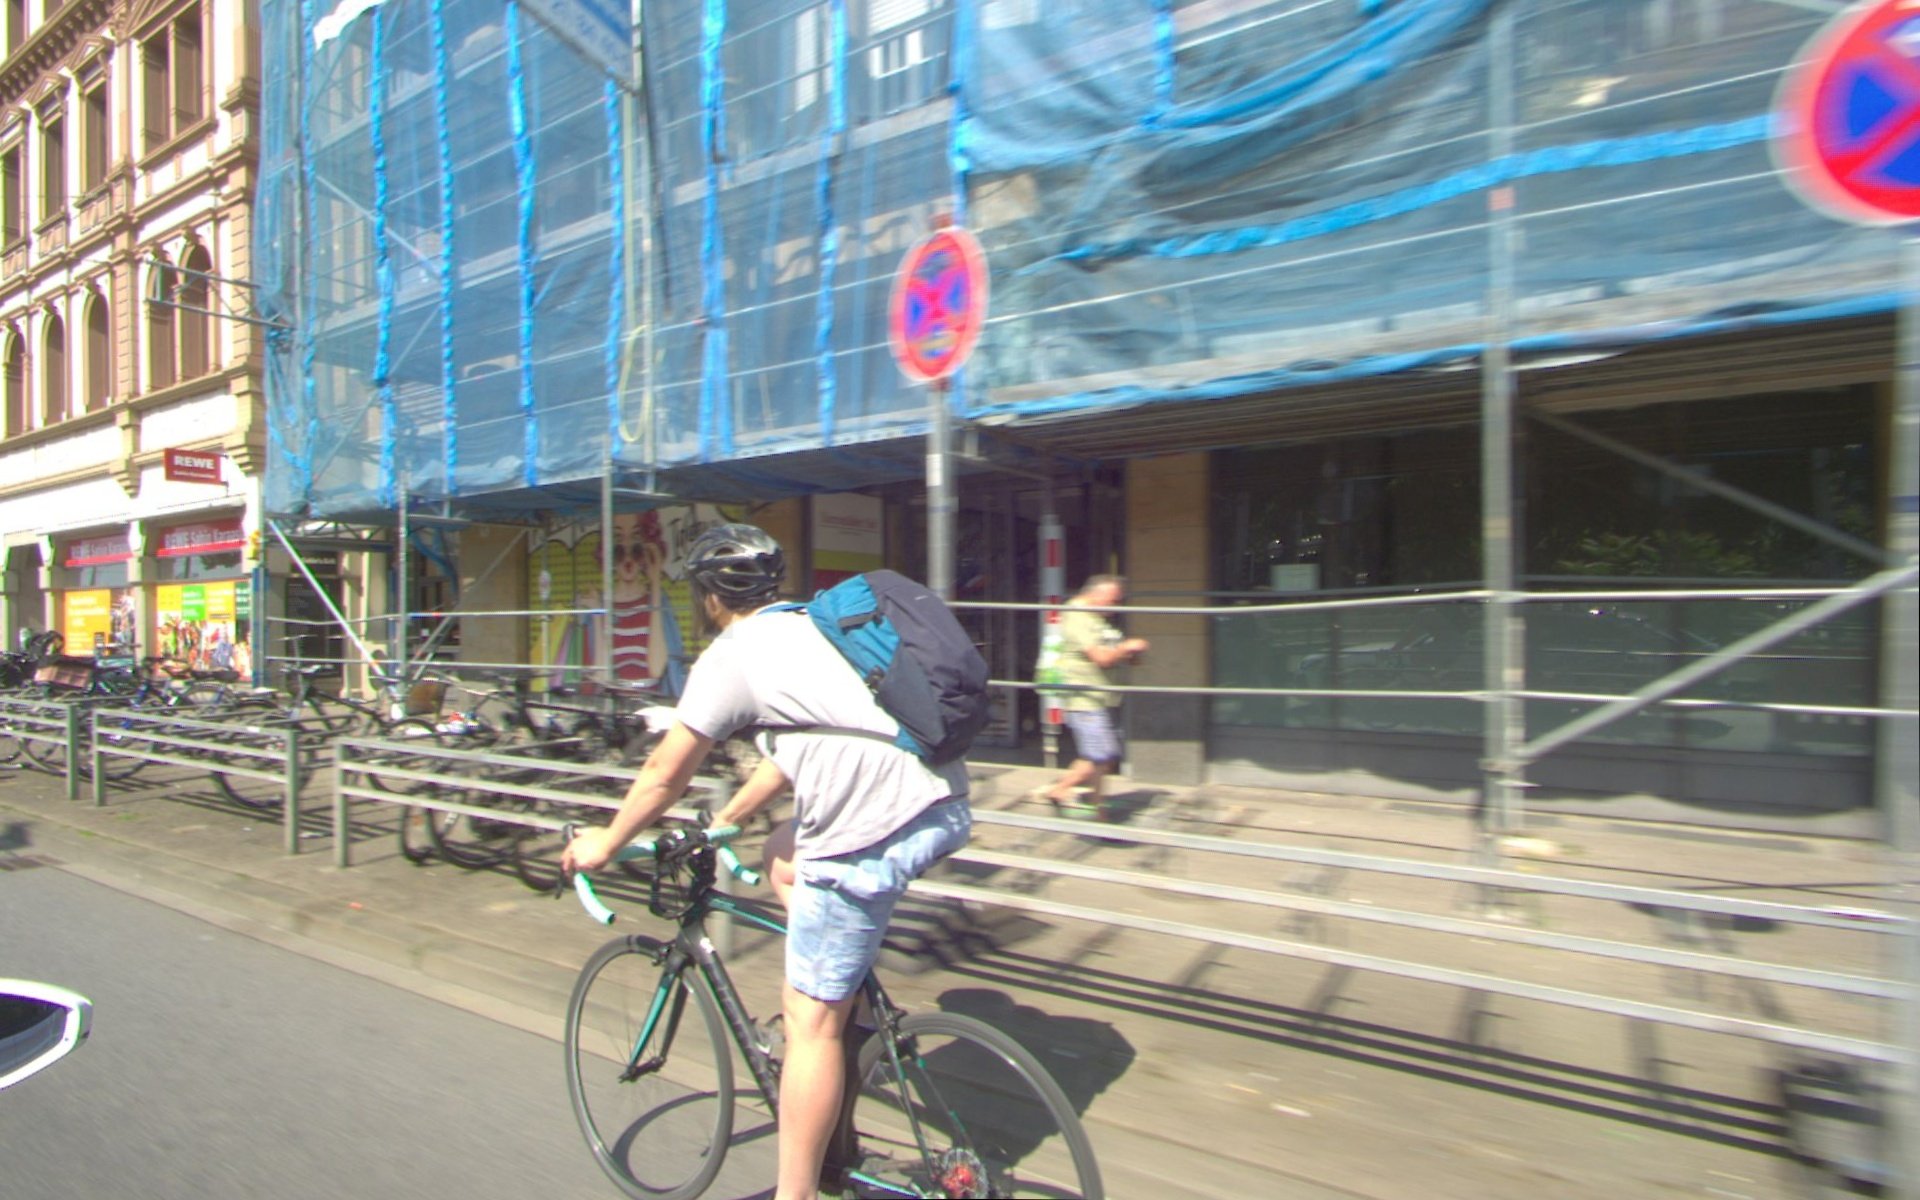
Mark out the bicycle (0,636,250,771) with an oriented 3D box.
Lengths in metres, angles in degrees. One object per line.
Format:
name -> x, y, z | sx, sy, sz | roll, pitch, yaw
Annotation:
bicycle -> -8.128, 0.975, 9.834 | 0.600, 1.193, 1.768 | -1, -3, 33

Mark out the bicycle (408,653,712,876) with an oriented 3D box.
bicycle -> -2.370, 0.909, 6.135 | 0.600, 1.111, 1.690 | -1, -1, 33

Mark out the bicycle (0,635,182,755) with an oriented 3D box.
bicycle -> -9.504, 0.992, 10.756 | 0.600, 1.193, 1.691 | -1, -3, 33

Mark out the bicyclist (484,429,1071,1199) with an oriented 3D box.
bicyclist -> -0.406, 0.479, 2.291 | 1.126, 1.480, 0.688 | -1, -4, 31

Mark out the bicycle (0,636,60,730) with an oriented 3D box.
bicycle -> -12.455, 1.039, 12.521 | 0.490, 1.193, 1.691 | -1, -3, 33

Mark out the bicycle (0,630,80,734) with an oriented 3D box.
bicycle -> -11.923, 0.996, 12.187 | 0.600, 1.256, 1.691 | -1, -3, 33

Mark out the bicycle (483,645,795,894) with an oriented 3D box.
bicycle -> -1.740, 0.867, 5.704 | 0.600, 1.193, 1.691 | -1, -3, 33

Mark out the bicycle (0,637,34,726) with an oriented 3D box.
bicycle -> -13.323, 1.075, 13.101 | 0.445, 1.193, 1.691 | -1, -3, 33

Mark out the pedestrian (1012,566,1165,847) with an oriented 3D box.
pedestrian -> 0.812, 0.642, 6.261 | 0.754, 1.621, 0.643 | -1, -4, 31

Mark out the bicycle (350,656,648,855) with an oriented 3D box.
bicycle -> -2.914, 0.926, 6.508 | 0.600, 1.111, 1.691 | -1, -3, 33

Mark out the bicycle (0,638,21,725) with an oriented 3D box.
bicycle -> -13.760, 1.092, 13.372 | 0.457, 1.193, 1.691 | -1, -3, 33

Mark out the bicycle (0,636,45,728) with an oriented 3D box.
bicycle -> -12.915, 1.051, 12.813 | 0.484, 1.193, 1.691 | -1, -3, 33

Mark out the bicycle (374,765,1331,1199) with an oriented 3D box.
bicycle -> -0.342, 1.017, 2.229 | 2.100, 1.106, 0.733 | -2, -4, 31

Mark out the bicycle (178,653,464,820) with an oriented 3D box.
bicycle -> -4.804, 0.971, 7.657 | 0.600, 1.123, 1.736 | -1, -3, 33

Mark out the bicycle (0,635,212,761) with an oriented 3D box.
bicycle -> -8.882, 0.979, 10.377 | 0.600, 1.193, 1.691 | -1, -3, 33

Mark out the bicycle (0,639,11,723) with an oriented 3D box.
bicycle -> -14.182, 1.113, 13.666 | 0.451, 1.193, 1.691 | -1, -3, 33

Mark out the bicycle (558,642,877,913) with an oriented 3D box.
bicycle -> -1.194, 0.833, 5.308 | 0.600, 1.193, 1.691 | -1, -3, 33

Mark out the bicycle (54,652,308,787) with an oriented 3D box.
bicycle -> -6.987, 1.030, 9.071 | 0.600, 1.100, 1.691 | -1, -3, 33
